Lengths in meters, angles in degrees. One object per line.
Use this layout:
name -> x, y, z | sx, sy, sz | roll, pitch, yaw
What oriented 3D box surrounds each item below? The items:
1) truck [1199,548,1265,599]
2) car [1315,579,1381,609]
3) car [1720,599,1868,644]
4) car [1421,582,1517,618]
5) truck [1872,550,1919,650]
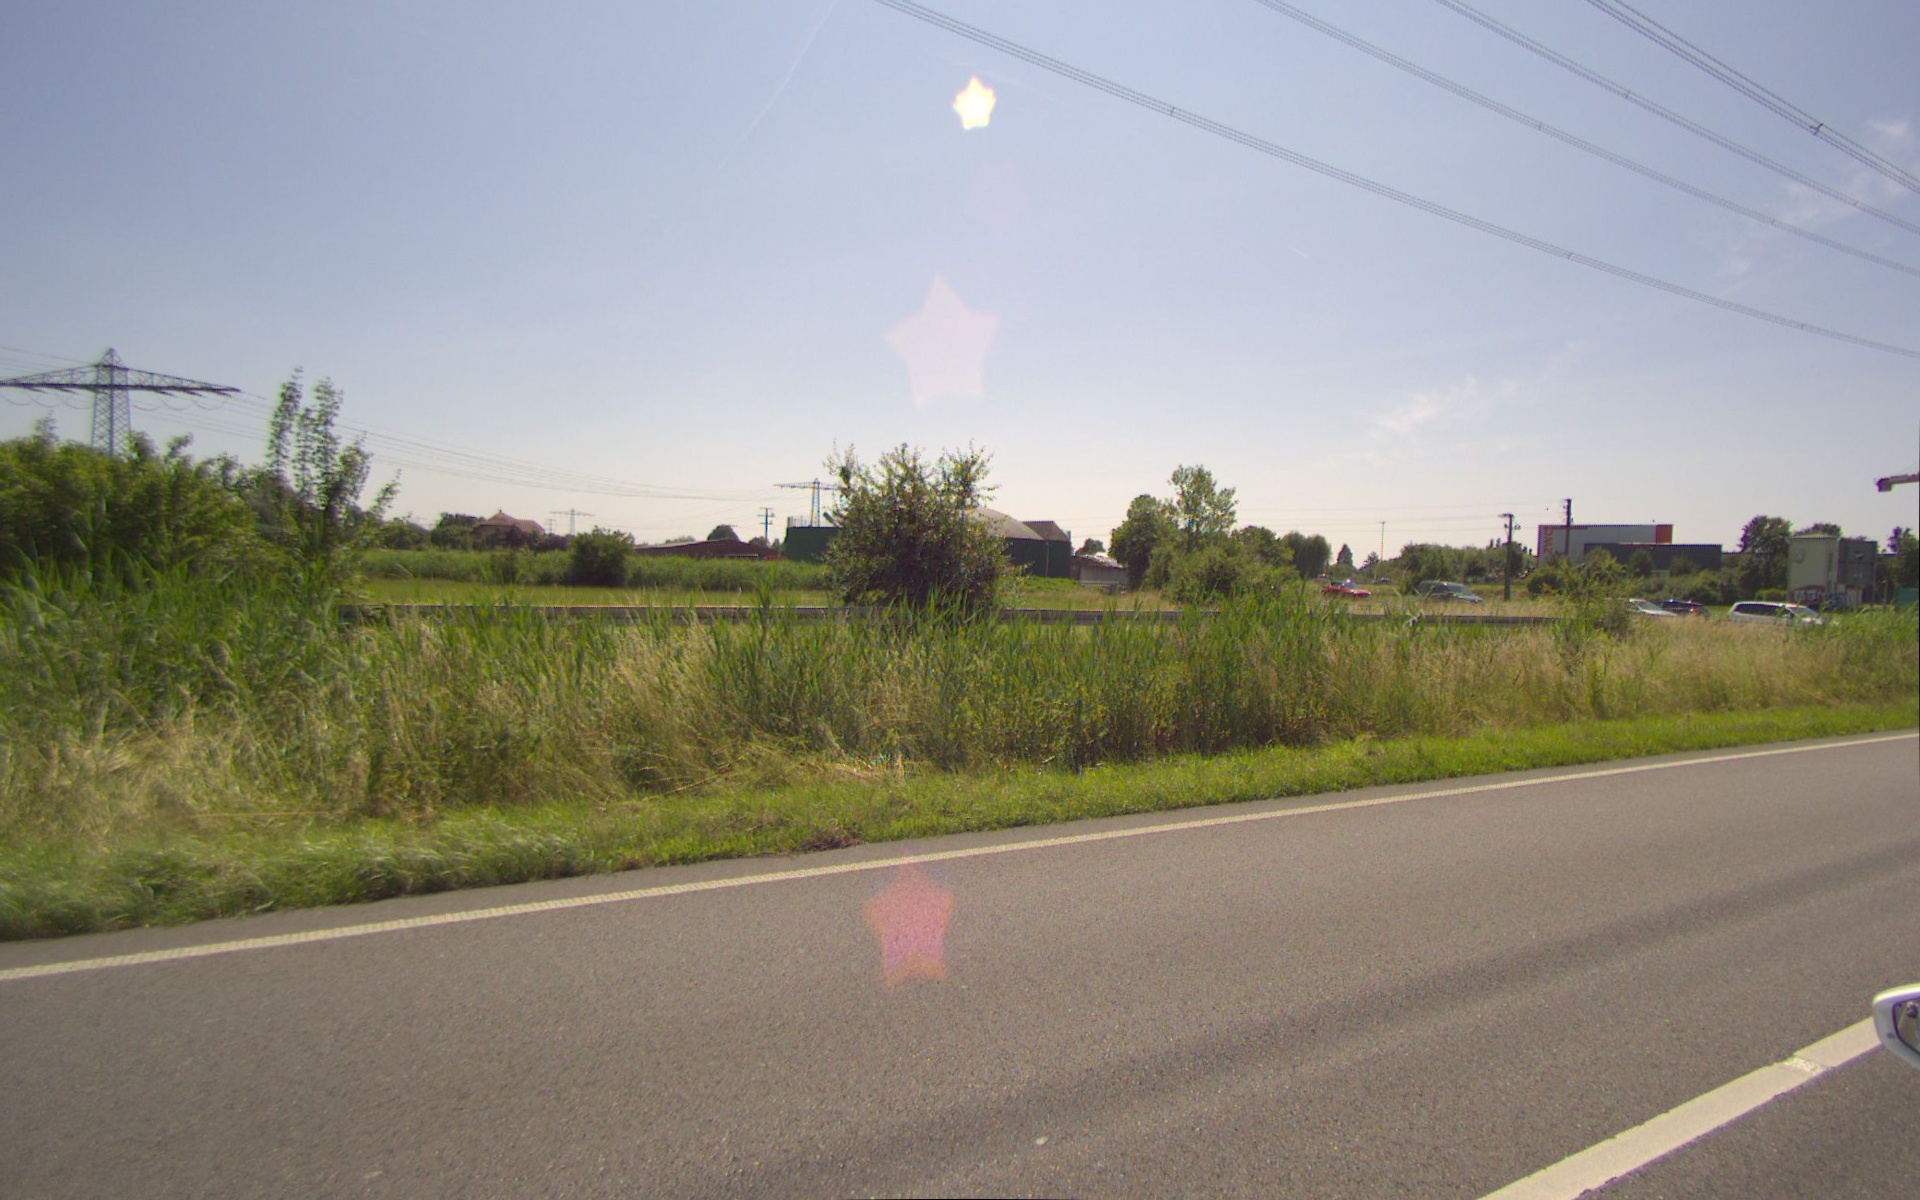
truck -> 27.500, -2.594, 102.423 | 3.616, 4.708, 13.243 | 2, 1, 3
car -> 26.979, -0.454, 70.016 | 1.886, 1.874, 4.464 | 1, 2, -18
car -> 35.595, 0.882, 43.041 | 1.935, 1.634, 4.541 | 1, 2, -14
car -> 29.873, -0.014, 59.090 | 2.057, 1.893, 4.928 | 0, 2, -20
truck -> 38.771, 0.178, 36.460 | 2.465, 3.785, 7.875 | 1, 3, -26
